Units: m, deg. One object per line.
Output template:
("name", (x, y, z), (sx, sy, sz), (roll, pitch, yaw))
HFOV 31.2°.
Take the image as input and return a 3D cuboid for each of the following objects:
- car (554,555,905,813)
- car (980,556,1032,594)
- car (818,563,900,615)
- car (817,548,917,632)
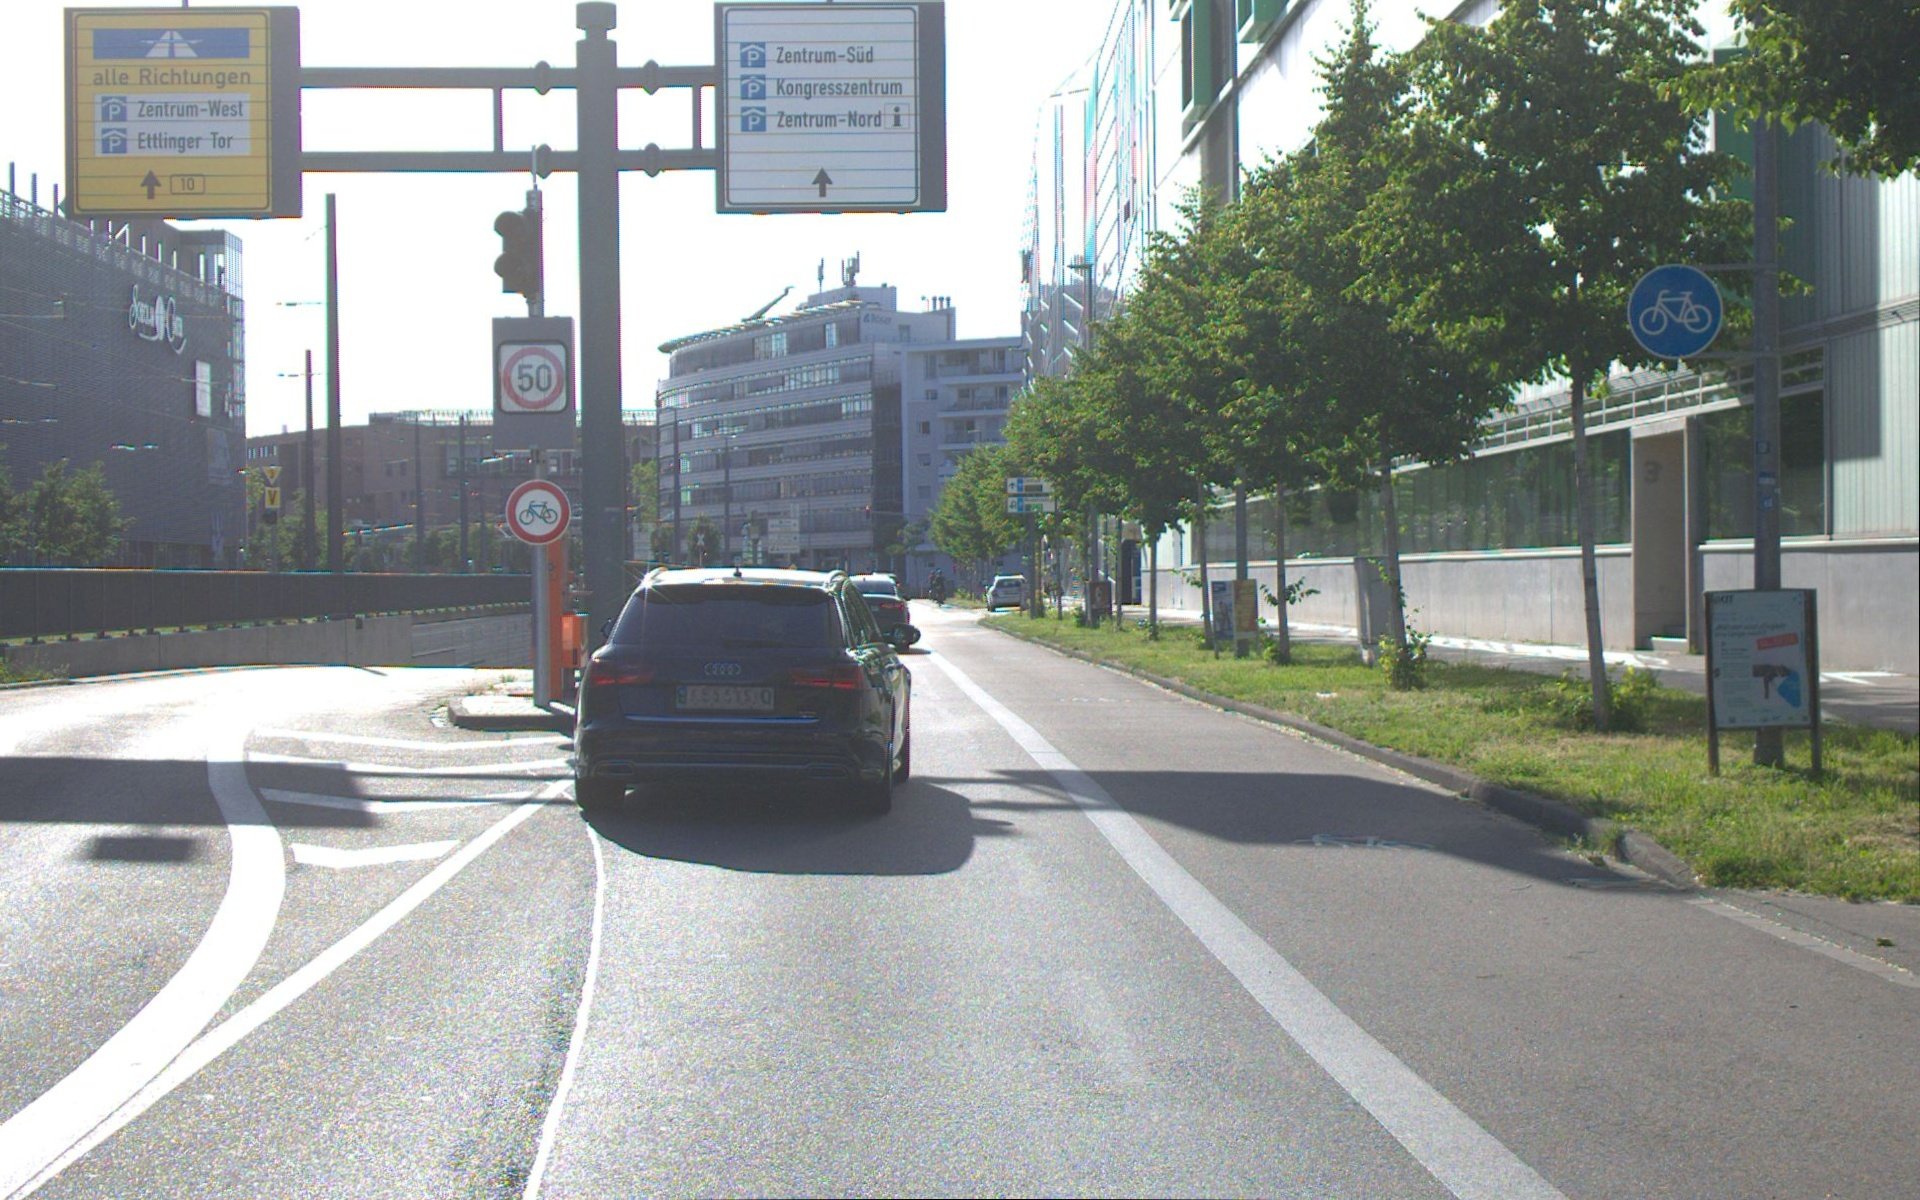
("car", (-1.319, 0.446, 21.494), (1.812, 1.422, 4.690), (-1, 1, 1))
("car", (1.929, -1.075, 144.523), (1.852, 1.476, 4.854), (-2, 1, -2))
("car", (-3.059, -0.343, 103.288), (1.993, 1.460, 4.001), (0, 2, -9))
("car", (-1.805, -0.210, 66.672), (1.852, 1.541, 4.000), (1, 1, -1))
